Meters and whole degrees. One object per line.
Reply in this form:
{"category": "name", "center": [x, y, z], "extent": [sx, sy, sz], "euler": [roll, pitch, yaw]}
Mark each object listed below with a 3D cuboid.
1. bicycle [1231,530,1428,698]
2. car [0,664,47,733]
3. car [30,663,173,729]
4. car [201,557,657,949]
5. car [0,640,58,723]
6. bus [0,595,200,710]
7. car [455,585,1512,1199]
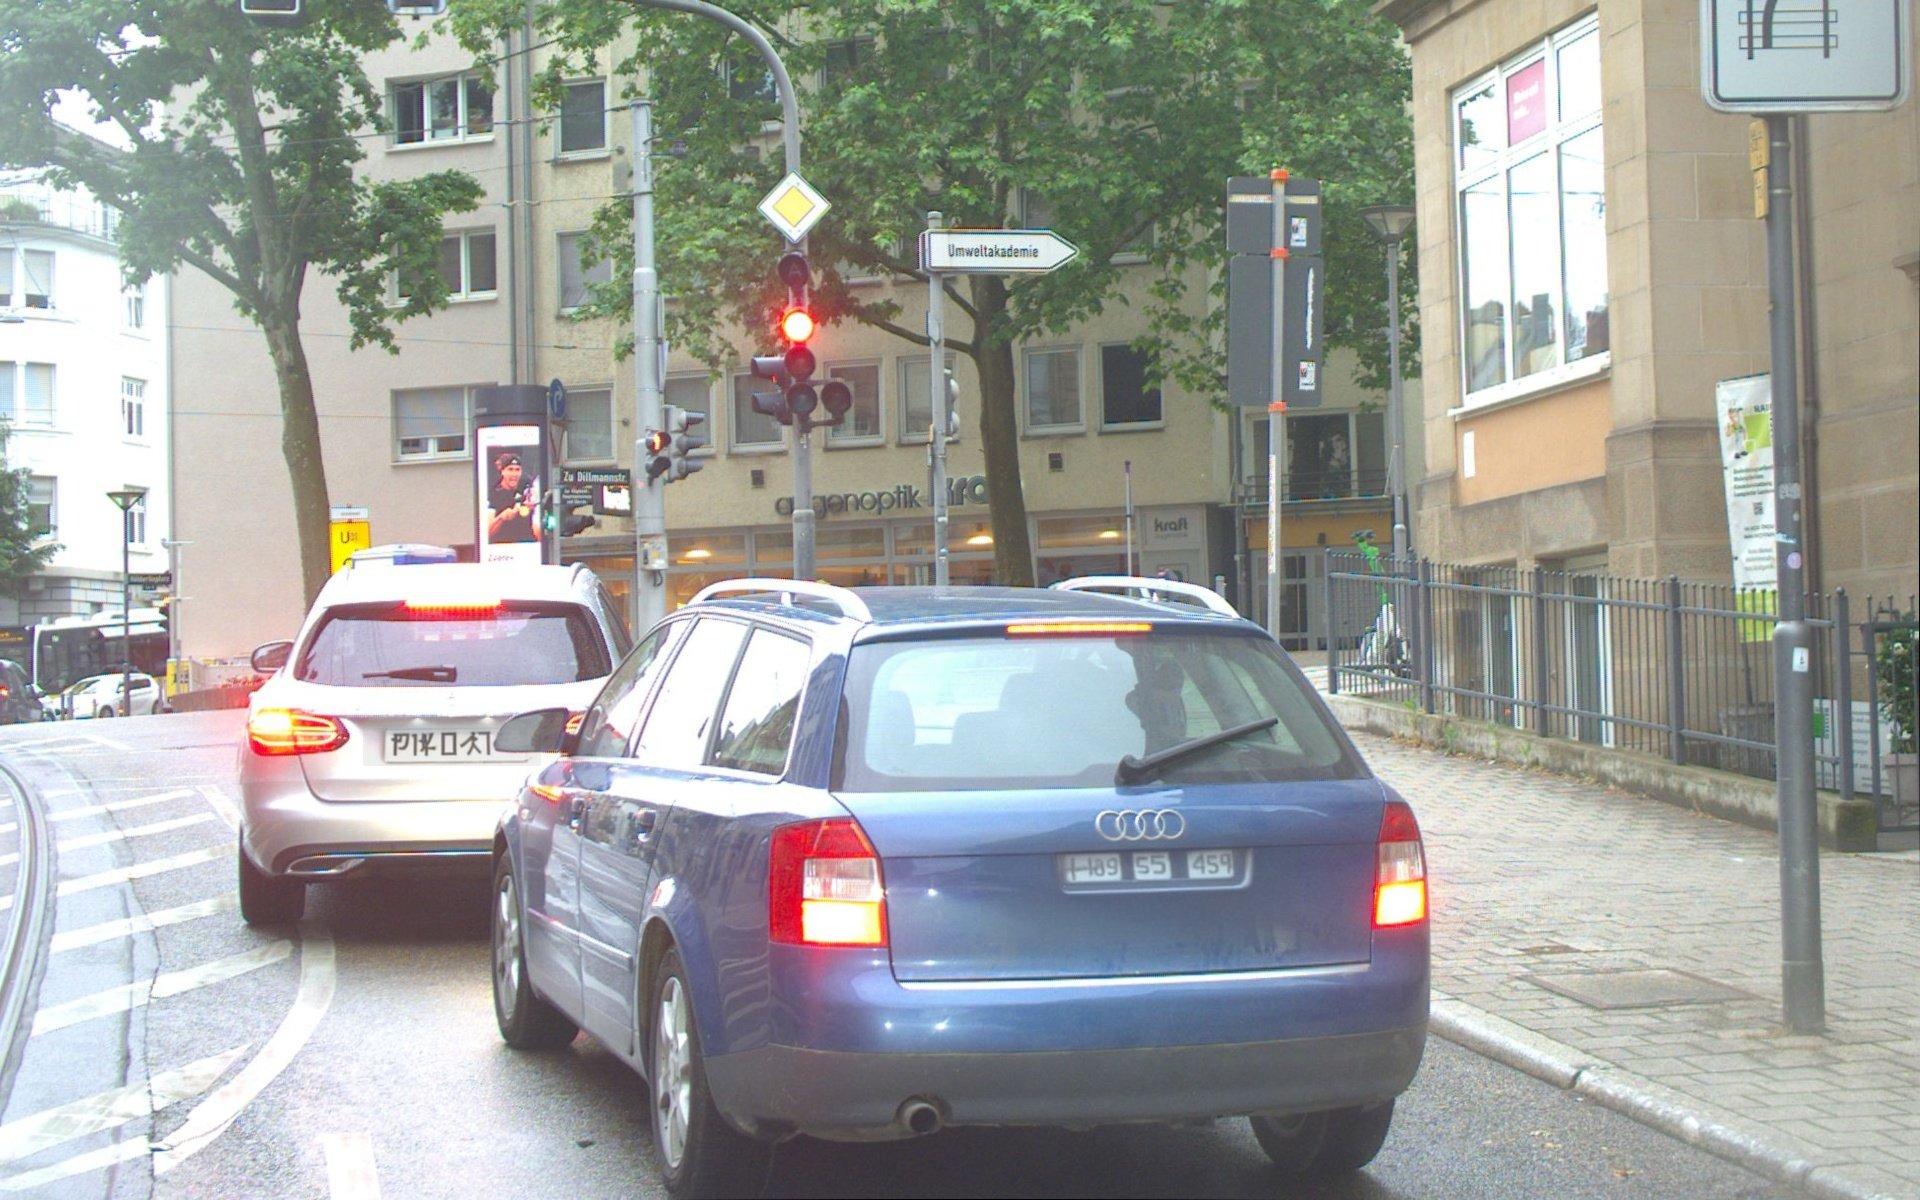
{"category": "bicycle", "center": [2.745, 0.096, 25.579], "extent": [1.300, 1.169, 0.526], "euler": [-3, 1, -12]}
{"category": "car", "center": [-24.531, 2.495, 85.156], "extent": [1.796, 1.609, 3.997], "euler": [-1, 1, 18]}
{"category": "car", "center": [-22.532, 2.505, 90.365], "extent": [1.796, 1.505, 3.997], "euler": [-1, 1, 18]}
{"category": "car", "center": [-2.238, 0.553, 14.809], "extent": [1.710, 1.451, 3.554], "euler": [0, 1, -7]}
{"category": "car", "center": [-19.698, 1.678, 69.620], "extent": [1.794, 1.505, 4.000], "euler": [-4, 1, -1]}
{"category": "bus", "center": [-24.683, 1.415, 96.492], "extent": [2.856, 2.851, 8.728], "euler": [-1, 1, 14]}
{"category": "car", "center": [-0.199, 0.698, 9.126], "extent": [1.710, 1.410, 4.037], "euler": [0, 1, -16]}
